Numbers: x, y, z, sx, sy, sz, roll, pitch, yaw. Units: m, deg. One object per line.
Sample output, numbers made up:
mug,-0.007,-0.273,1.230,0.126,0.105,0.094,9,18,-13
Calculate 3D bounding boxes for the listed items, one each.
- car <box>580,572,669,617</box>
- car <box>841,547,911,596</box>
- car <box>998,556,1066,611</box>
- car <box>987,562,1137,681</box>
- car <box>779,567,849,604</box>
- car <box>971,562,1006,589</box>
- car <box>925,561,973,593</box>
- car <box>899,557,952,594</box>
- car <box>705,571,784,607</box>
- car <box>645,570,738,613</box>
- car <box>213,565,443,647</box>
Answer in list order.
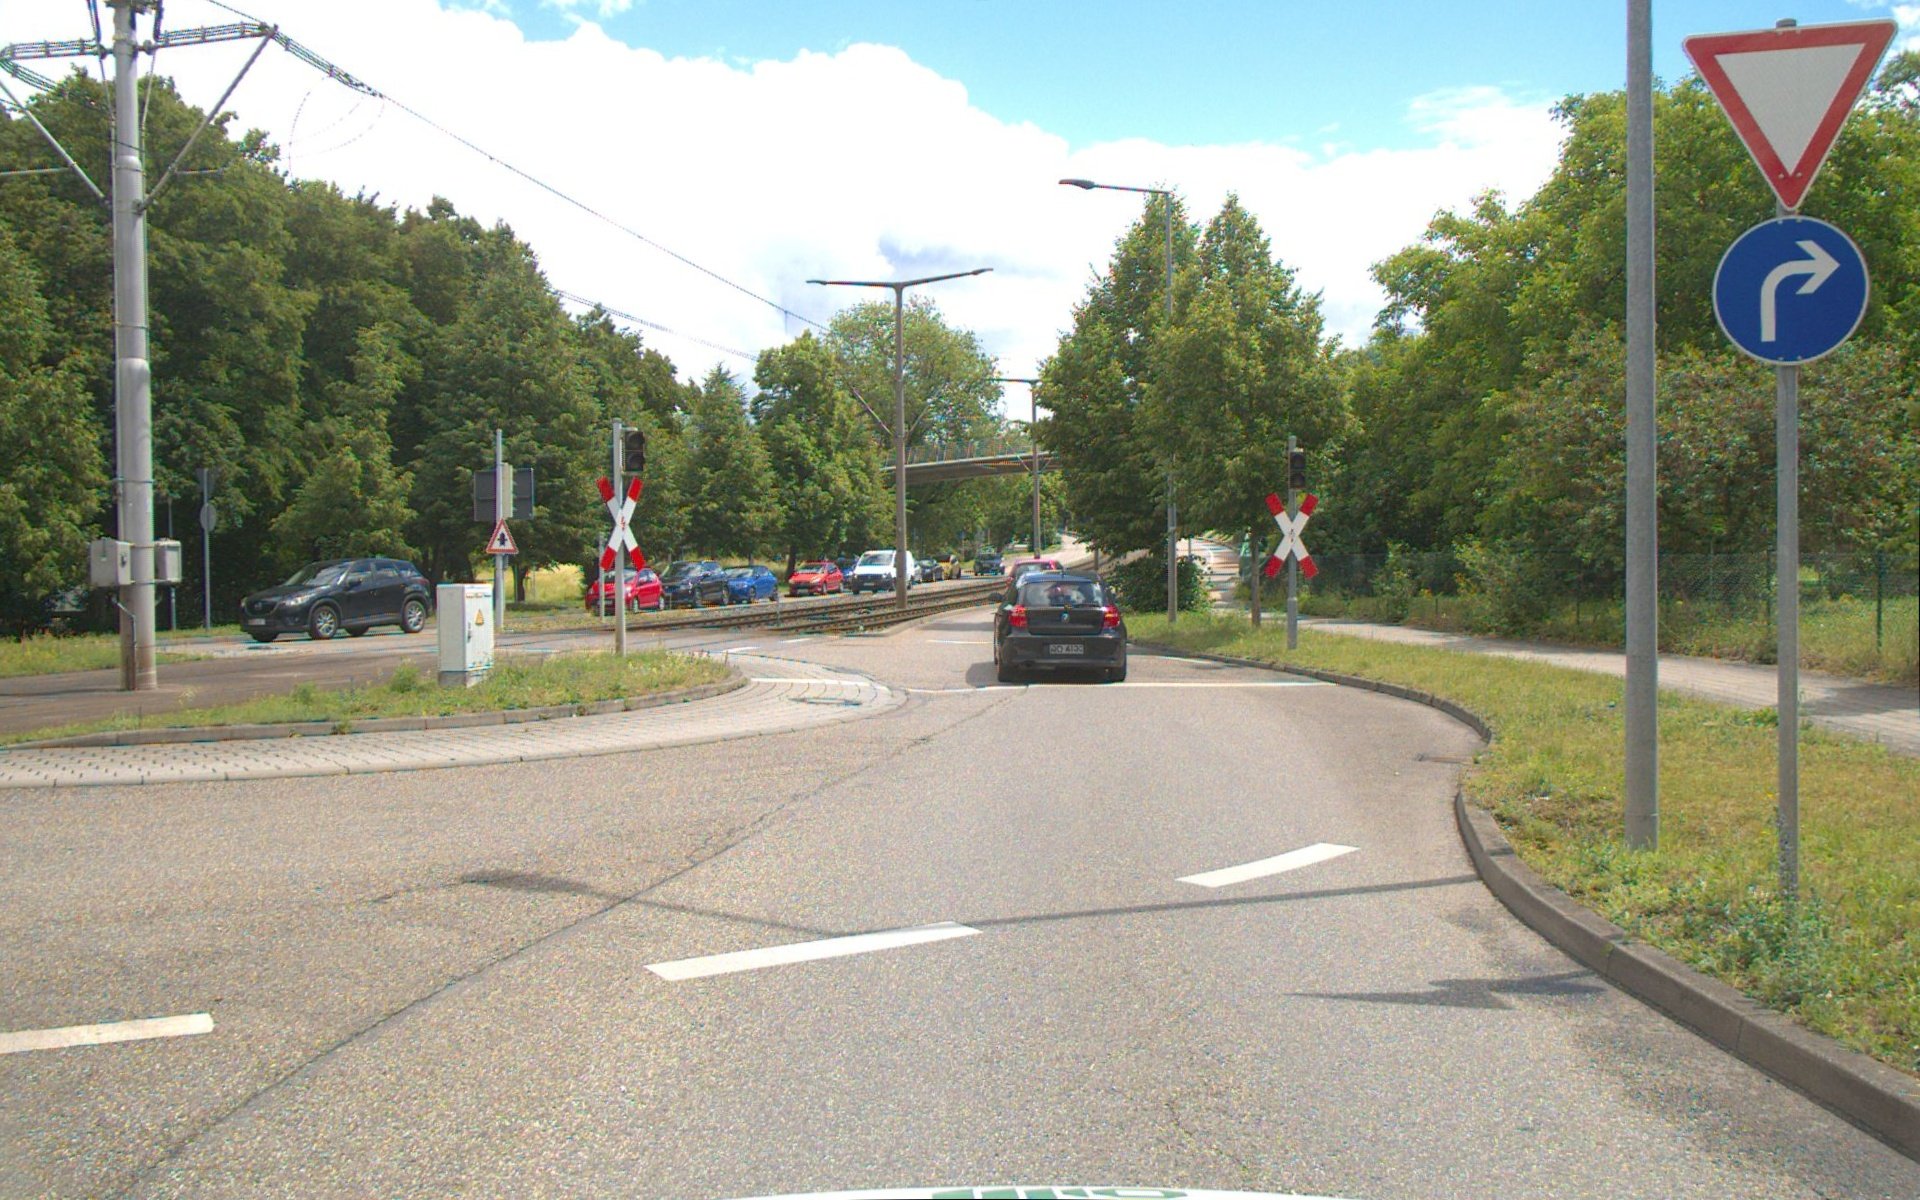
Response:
car,-10.747,-0.193,53.185,1.495,1.394,3.600,-1,1,12
car,-3.674,-1.260,73.054,1.951,2.049,4.004,-1,1,14
car,1.986,-0.437,46.495,1.729,1.457,3.478,-1,0,0
car,1.316,0.295,22.806,1.778,1.445,3.999,-1,-1,0
car,-6.474,-0.670,73.758,1.872,1.588,4.004,-1,1,14
car,1.917,-1.639,110.126,1.655,1.711,4.004,-1,1,12
car,-0.634,-1.404,100.174,1.951,1.895,4.004,0,2,15
car,-1.966,-1.429,95.247,1.951,2.048,4.003,0,2,16
car,-8.256,-0.427,63.645,1.767,1.276,3.571,-1,2,15
car,-9.444,-0.315,58.421,1.840,1.450,3.533,-1,1,17
car,-13.322,0.095,35.152,1.954,1.625,4.416,-1,1,26
